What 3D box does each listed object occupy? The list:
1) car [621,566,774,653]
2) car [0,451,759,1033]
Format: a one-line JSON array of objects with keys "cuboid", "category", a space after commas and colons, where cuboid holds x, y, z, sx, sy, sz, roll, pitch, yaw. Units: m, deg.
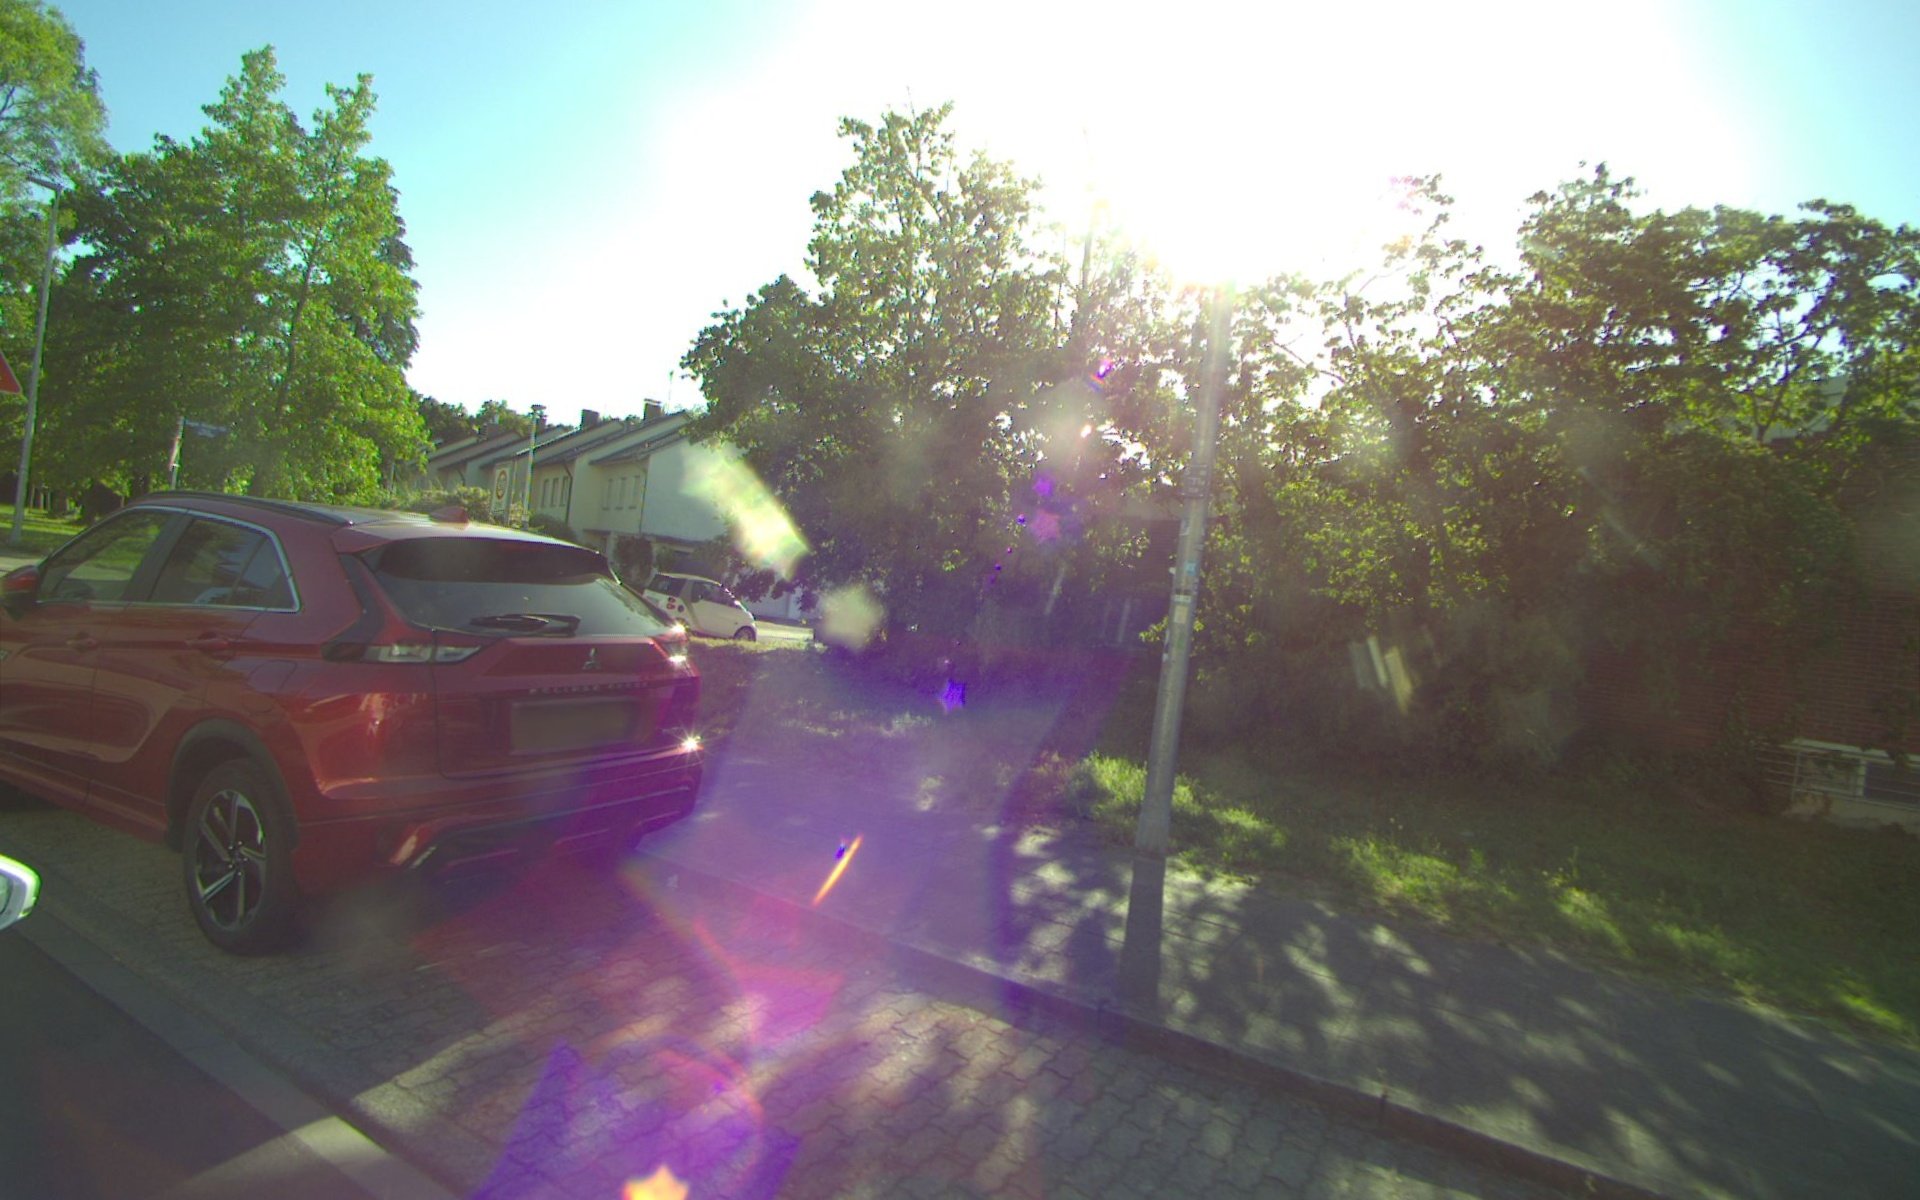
[{"cuboid": [-6.225, 0.250, 23.970, 1.677, 1.583, 2.948, 11, 3, 43], "category": "car"}, {"cuboid": [-3.399, 0.270, 4.940, 4.565, 1.703, 1.776, 7, 3, 29], "category": "car"}]
